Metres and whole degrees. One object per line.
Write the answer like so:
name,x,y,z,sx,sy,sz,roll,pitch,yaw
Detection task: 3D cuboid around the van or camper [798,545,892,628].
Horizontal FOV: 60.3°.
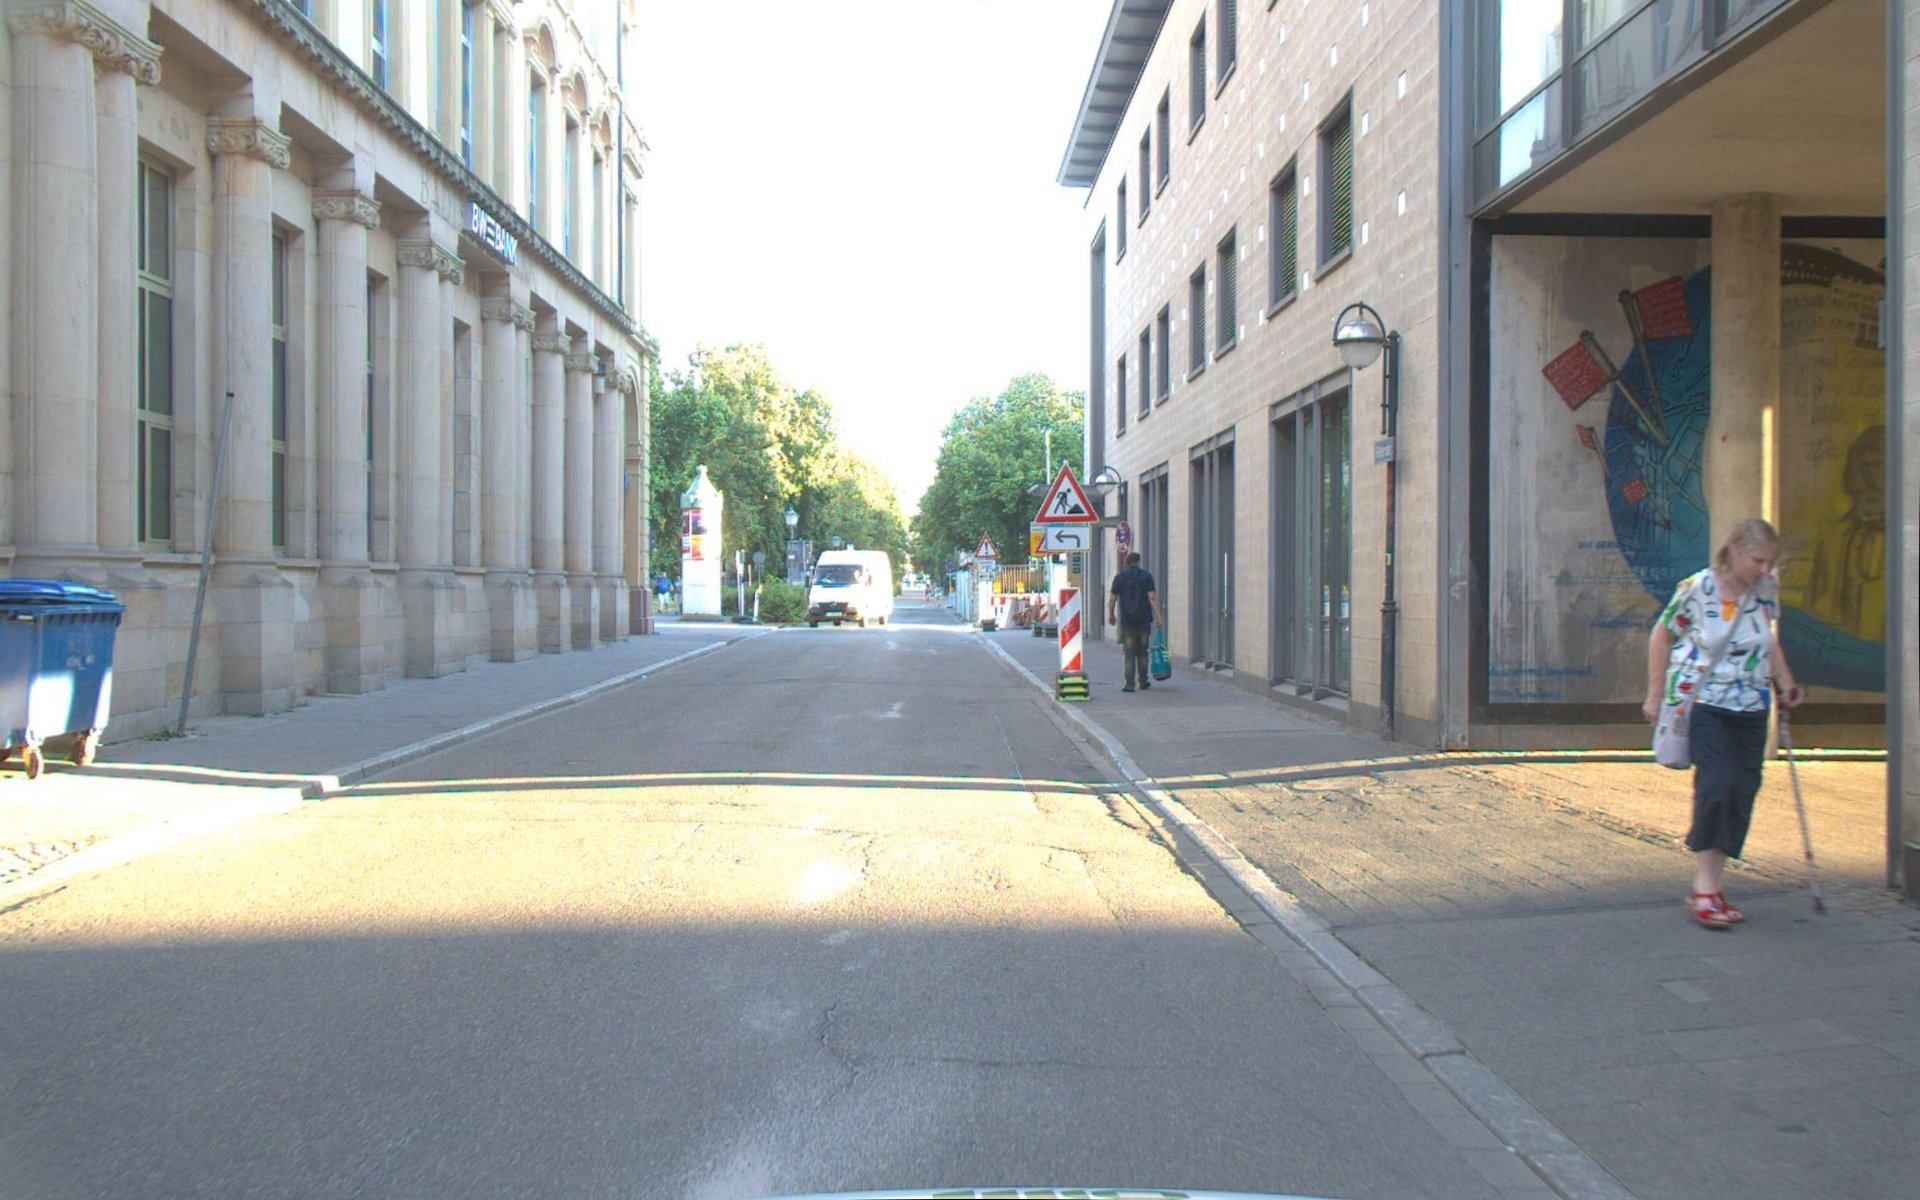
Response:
van or camper,-3.798,-0.470,55.716,2.172,2.630,6.376,0,1,5

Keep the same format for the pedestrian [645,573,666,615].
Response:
pedestrian,-13.344,-0.256,72.427,0.835,1.839,0.661,1,0,-15

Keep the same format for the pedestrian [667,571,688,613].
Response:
pedestrian,-12.439,-0.365,72.725,0.835,1.839,0.661,1,0,-15

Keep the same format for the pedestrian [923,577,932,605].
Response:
pedestrian,-2.387,-0.666,120.250,0.570,2.049,0.680,1,0,-10

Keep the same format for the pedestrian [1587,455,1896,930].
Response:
pedestrian,3.243,0.363,6.958,0.828,1.834,0.897,-3,0,3

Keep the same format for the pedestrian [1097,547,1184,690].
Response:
pedestrian,2.375,0.242,21.852,0.980,1.835,0.881,-1,0,-2

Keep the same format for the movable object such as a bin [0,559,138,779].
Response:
movable object such as a bin,-6.751,0.470,12.127,0.812,1.529,1.291,0,1,-1
